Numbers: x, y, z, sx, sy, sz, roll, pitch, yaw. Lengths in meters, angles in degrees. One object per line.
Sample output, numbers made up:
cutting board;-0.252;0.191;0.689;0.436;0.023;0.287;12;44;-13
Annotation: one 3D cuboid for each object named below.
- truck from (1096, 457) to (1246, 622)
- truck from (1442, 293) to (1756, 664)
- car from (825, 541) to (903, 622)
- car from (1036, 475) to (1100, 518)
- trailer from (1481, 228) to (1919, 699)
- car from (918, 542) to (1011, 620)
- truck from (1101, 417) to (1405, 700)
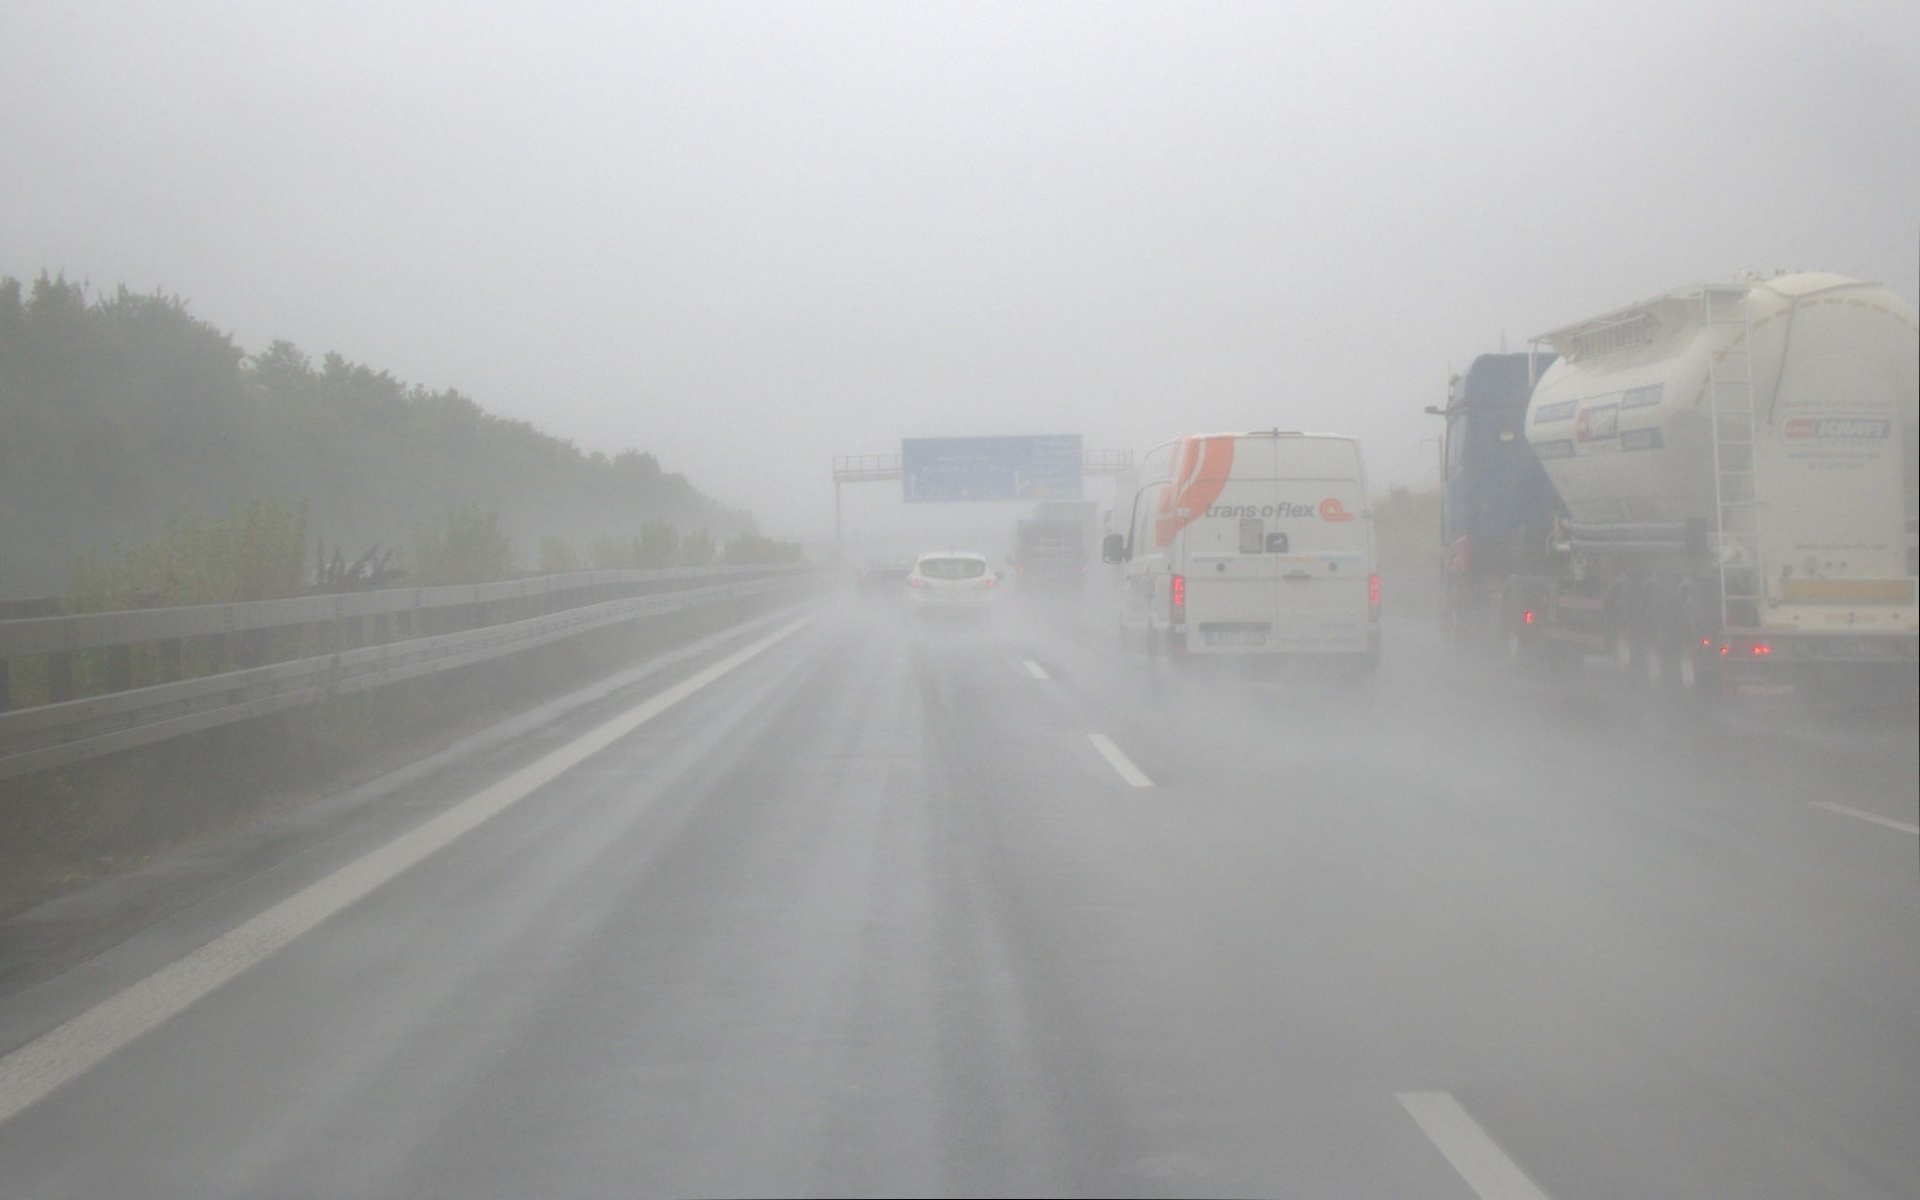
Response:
truck;6.234;-1.745;104.484;3.039;4.572;16.352;1;0;-2
truck;7.252;-1.363;39.644;2.496;3.970;5.076;1;1;-1
car;-2.210;-0.459;80.191;1.702;1.812;3.862;1;1;0
car;5.129;-4.931;164.460;2.788;2.007;4.993;1;1;-1
trailer;7.388;-1.241;33.922;2.497;3.869;11.068;1;1;-1
car;0.054;-0.366;62.681;1.605;1.333;3.849;1;1;-1
truck;2.719;-0.425;33.323;2.419;2.484;5.560;1;1;0
